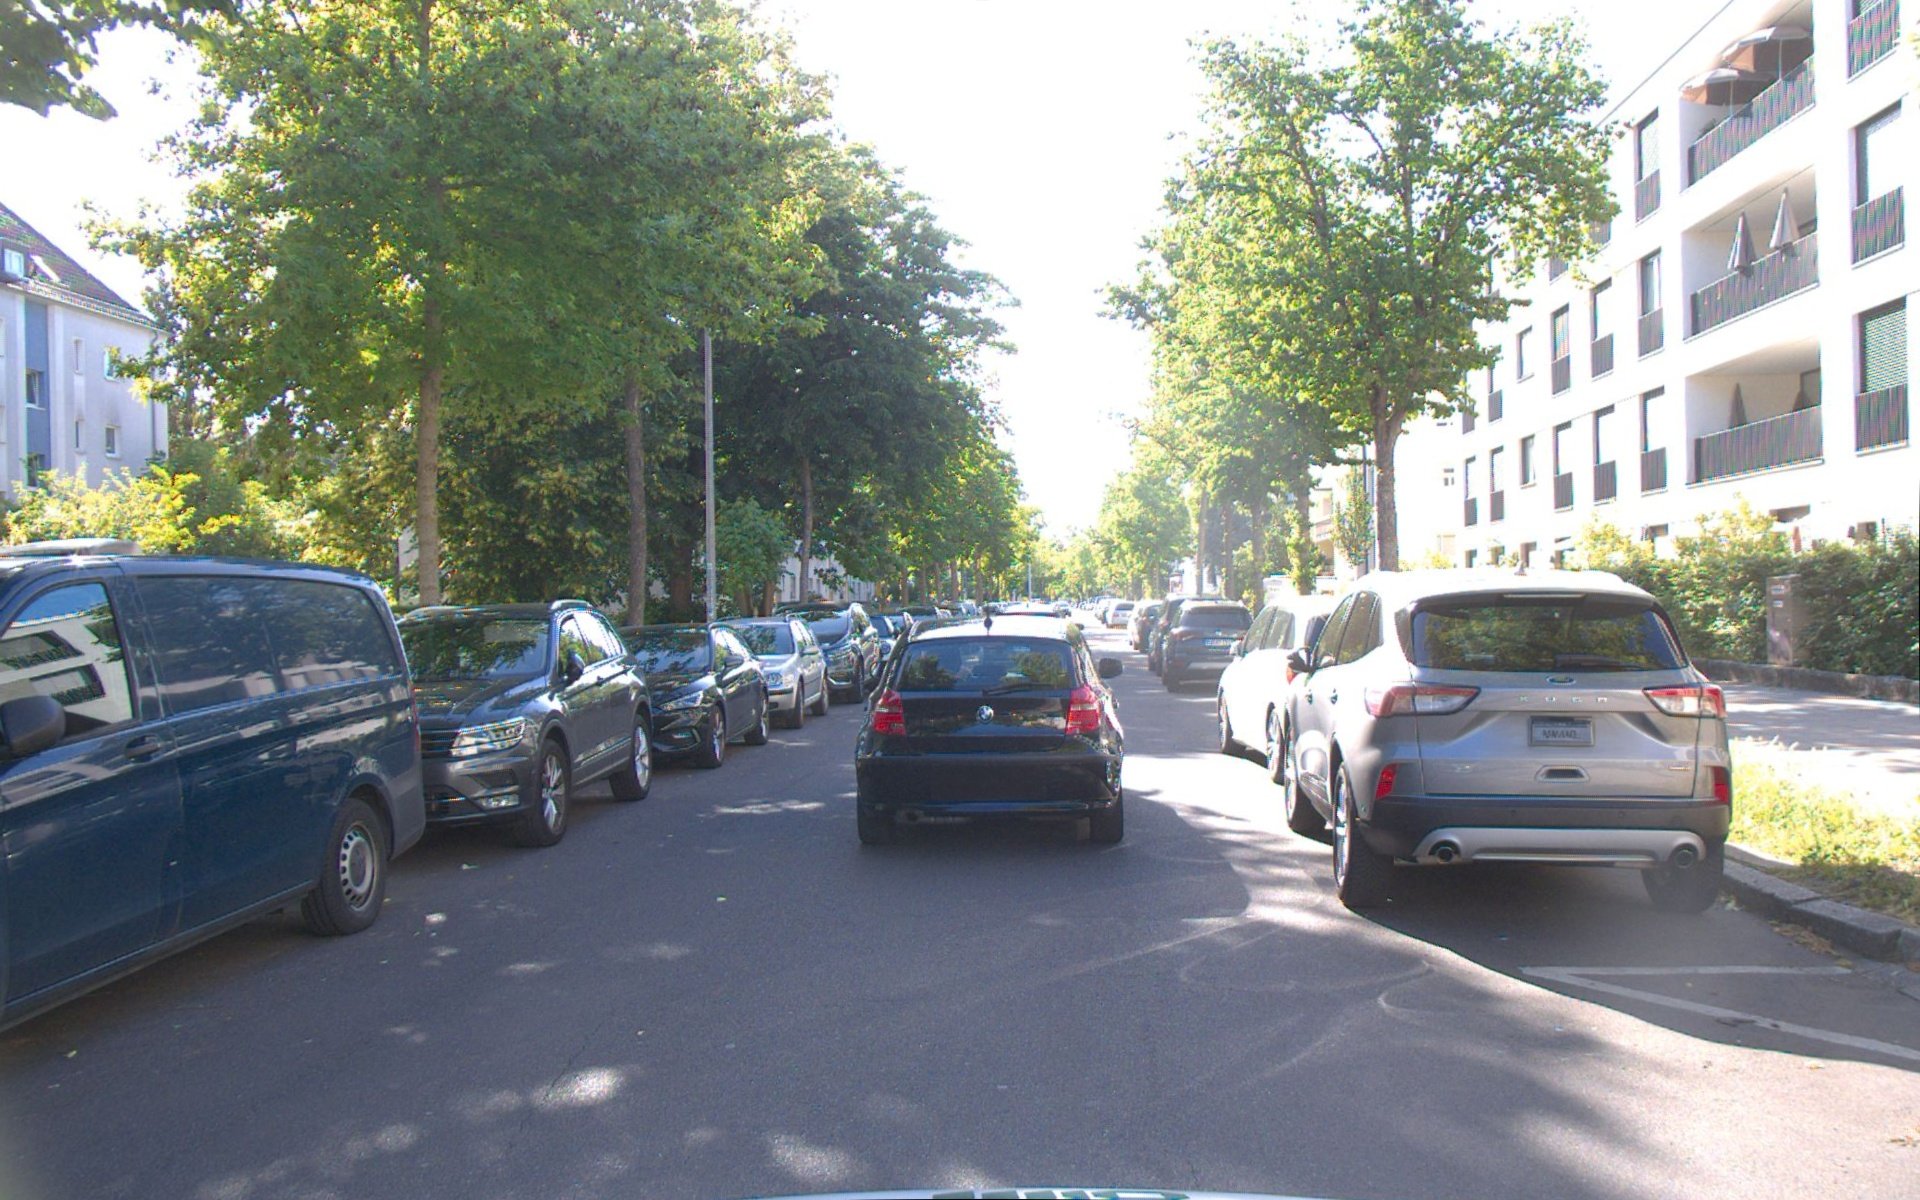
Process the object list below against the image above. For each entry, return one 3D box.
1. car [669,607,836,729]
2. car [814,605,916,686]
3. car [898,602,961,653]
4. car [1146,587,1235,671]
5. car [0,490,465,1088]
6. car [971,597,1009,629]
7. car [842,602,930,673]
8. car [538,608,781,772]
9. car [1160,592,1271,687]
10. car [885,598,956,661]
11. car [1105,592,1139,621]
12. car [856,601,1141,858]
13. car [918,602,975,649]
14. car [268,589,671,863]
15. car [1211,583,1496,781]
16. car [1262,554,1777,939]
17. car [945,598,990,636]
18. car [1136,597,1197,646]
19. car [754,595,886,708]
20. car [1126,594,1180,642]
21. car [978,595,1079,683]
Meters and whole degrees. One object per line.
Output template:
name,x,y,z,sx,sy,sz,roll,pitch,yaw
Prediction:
car,-2.771,0.873,22.809,1.578,1.452,3.727,-3,0,3
car,-1.887,0.892,33.925,1.578,1.478,3.867,-3,0,3
car,-0.887,0.816,50.357,1.578,1.416,3.867,-3,0,3
car,4.895,0.576,35.498,1.684,1.669,3.853,1,0,5
car,-3.917,0.648,6.764,1.788,1.937,5.145,-3,0,5
car,1.446,0.619,79.017,1.578,1.416,3.867,-3,0,3
car,-1.677,0.841,38.535,1.578,1.478,3.867,-3,0,3
car,-3.077,0.866,17.721,1.578,1.452,4.060,-3,0,3
car,4.494,0.649,29.500,1.684,1.555,4.003,1,0,5
car,-1.038,0.779,45.423,1.578,1.570,3.867,-3,0,3
car,8.876,0.337,90.586,1.684,1.506,3.854,-2,0,7
car,0.218,0.752,11.323,1.616,1.421,3.411,-2,0,0
car,-0.404,0.819,54.864,1.578,1.416,3.867,-3,0,3
car,-3.429,0.782,12.422,1.579,1.639,4.230,-3,0,2
car,3.422,0.649,15.096,1.659,1.550,4.000,-1,0,0
car,2.832,0.652,9.426,1.809,1.659,4.413,-1,0,6
car,0.341,0.673,67.625,1.578,1.416,3.867,-3,0,3
car,6.272,0.630,50.565,1.684,1.403,3.853,1,0,5
car,-2.304,0.807,28.234,1.578,1.708,4.236,-3,0,3
car,6.439,0.571,55.355,1.684,1.506,3.853,1,0,5
car,1.330,0.670,30.720,1.614,1.450,4.004,-2,0,6
